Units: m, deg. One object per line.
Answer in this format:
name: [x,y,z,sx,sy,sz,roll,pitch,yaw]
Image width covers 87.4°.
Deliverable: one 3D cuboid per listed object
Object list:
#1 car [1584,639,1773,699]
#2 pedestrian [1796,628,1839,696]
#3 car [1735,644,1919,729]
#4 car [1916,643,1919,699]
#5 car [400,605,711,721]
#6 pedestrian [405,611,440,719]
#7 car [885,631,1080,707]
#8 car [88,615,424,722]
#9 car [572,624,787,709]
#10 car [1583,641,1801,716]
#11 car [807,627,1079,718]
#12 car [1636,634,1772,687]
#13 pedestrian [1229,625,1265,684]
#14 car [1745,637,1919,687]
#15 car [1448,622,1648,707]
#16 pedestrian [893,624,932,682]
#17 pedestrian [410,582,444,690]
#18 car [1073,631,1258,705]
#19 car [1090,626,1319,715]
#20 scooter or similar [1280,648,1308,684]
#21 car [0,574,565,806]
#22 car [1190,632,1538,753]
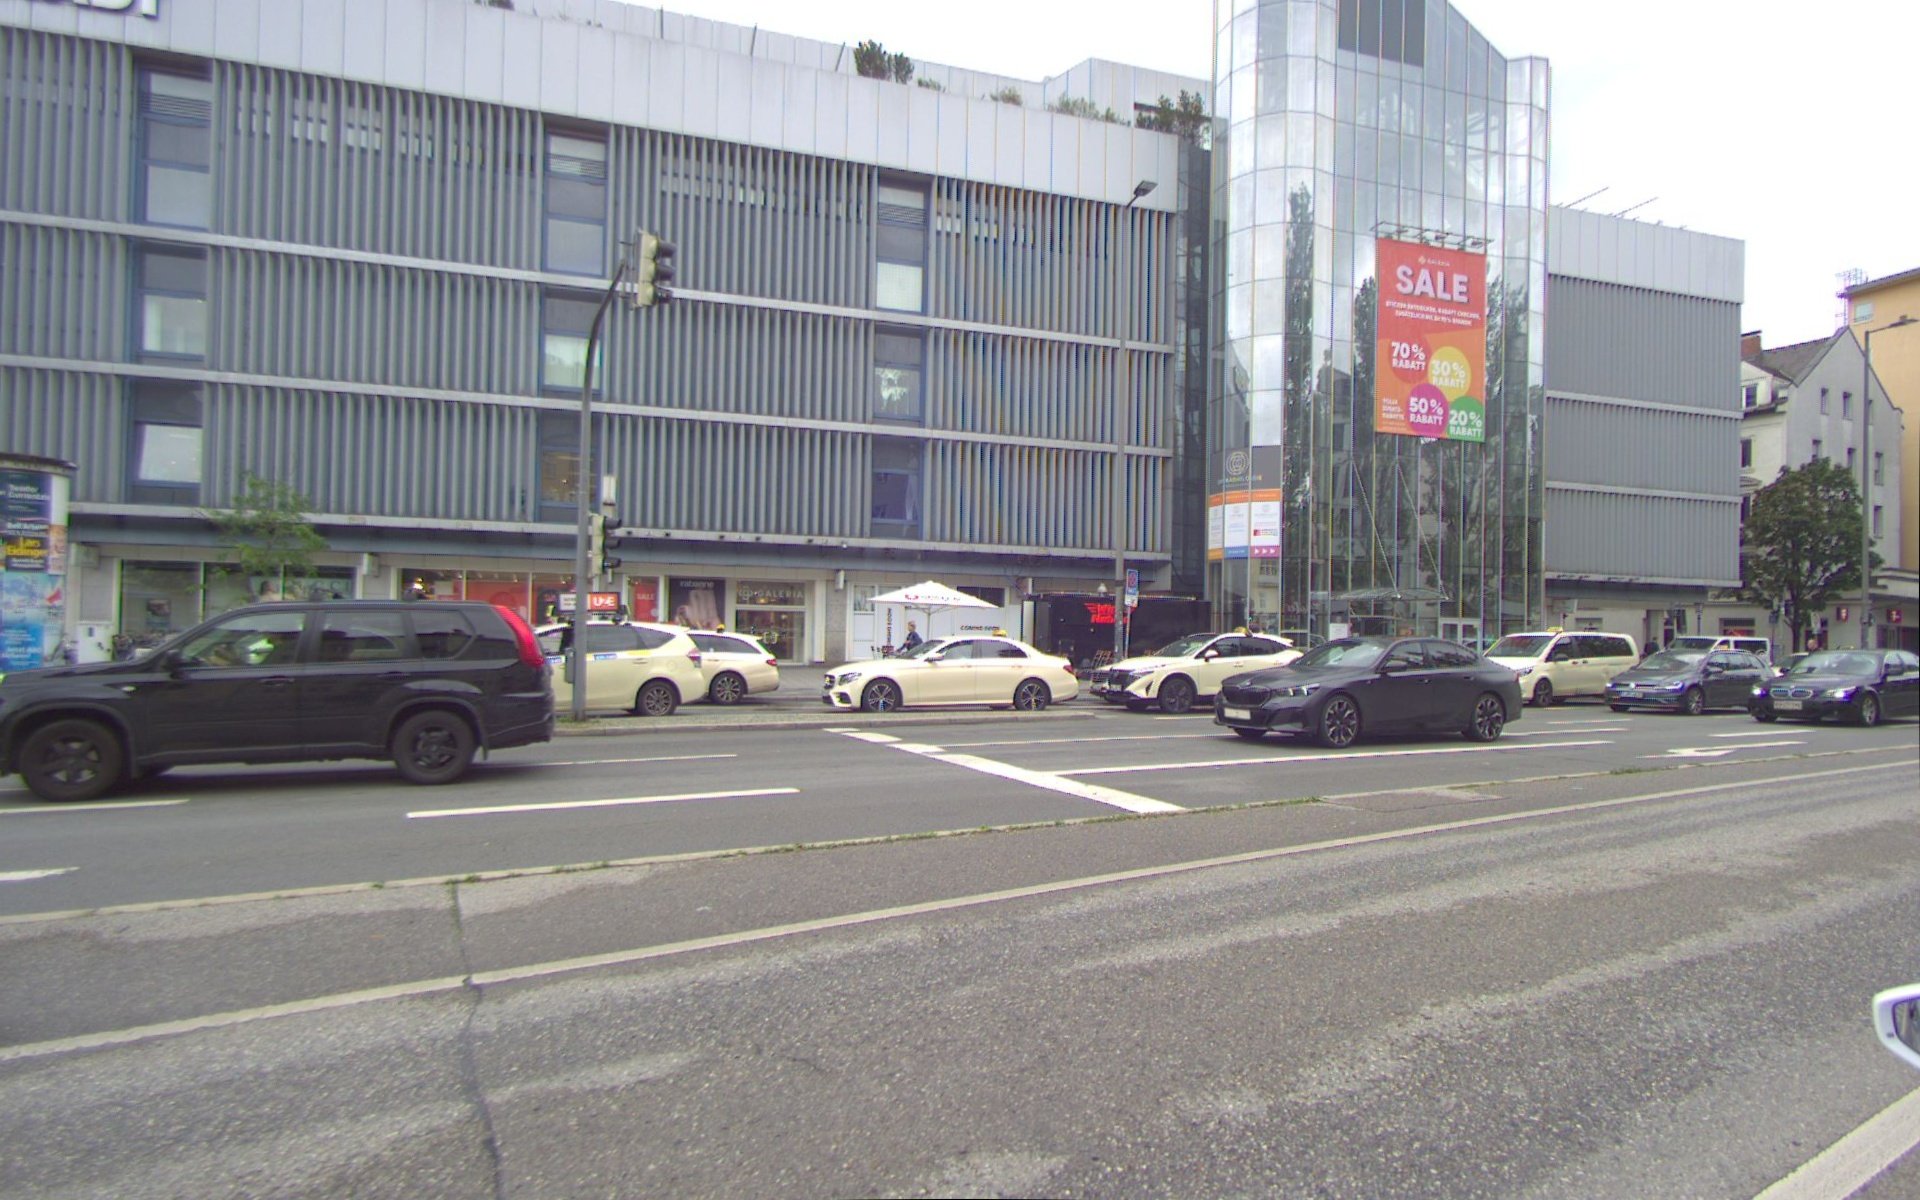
car: [20.487,1.943,28.638,5.010,1.573,1.974,2,-2,-21]
pedestrian: [24.289,1.735,28.461,0.775,1.892,0.845,0,-2,31]
car: [17.735,1.651,19.978,4.673,1.506,1.830,2,-2,-27]
car: [30.339,2.106,29.470,4.233,1.621,1.987,2,-2,-26]
car: [-6.386,0.977,16.037,4.424,1.633,1.579,2,-2,-30]
pedestrian: [-8.530,1.019,15.945,0.420,1.677,0.362,2,0,-30]
car: [0.493,1.513,22.268,3.941,1.557,1.749,2,-2,-22]
car: [-11.423,1.054,16.498,4.270,1.530,1.835,2,-2,-44]
car: [-5.717,1.315,20.503,3.949,1.587,1.900,2,-2,-27]
car: [16.910,1.768,23.192,4.880,1.567,1.954,2,-2,-25]
car: [-0.336,1.325,18.982,4.774,1.561,1.944,1,-2,-20]
car: [29.817,2.405,40.267,5.036,2.040,1.991,1,-2,-21]
pedestrian: [9.103,1.722,31.912,0.805,1.829,0.788,1,-2,-17]
car: [27.127,1.928,31.141,4.900,1.488,1.858,1,-4,-16]
car: [15.334,1.663,26.146,5.253,2.040,1.987,2,-3,-27]
pedestrian: [-1.303,1.439,27.480,0.884,1.566,0.731,1,-1,-17]
pedestrian: [-8.809,0.594,16.593,0.424,1.752,0.521,2,0,-30]
car: [4.848,1.598,23.815,3.933,1.637,1.772,2,-2,-15]
car: [5.065,1.446,20.886,4.315,1.720,1.884,1,-3,-19]
scooter or similar: [11.035,2.153,33.184,0.362,1.155,1.375,-1,-2,41]
car: [-6.198,0.769,9.470,4.534,1.801,1.989,2,-2,-24]
car: [5.972,1.266,14.757,4.956,1.527,1.987,2,-2,-26]
